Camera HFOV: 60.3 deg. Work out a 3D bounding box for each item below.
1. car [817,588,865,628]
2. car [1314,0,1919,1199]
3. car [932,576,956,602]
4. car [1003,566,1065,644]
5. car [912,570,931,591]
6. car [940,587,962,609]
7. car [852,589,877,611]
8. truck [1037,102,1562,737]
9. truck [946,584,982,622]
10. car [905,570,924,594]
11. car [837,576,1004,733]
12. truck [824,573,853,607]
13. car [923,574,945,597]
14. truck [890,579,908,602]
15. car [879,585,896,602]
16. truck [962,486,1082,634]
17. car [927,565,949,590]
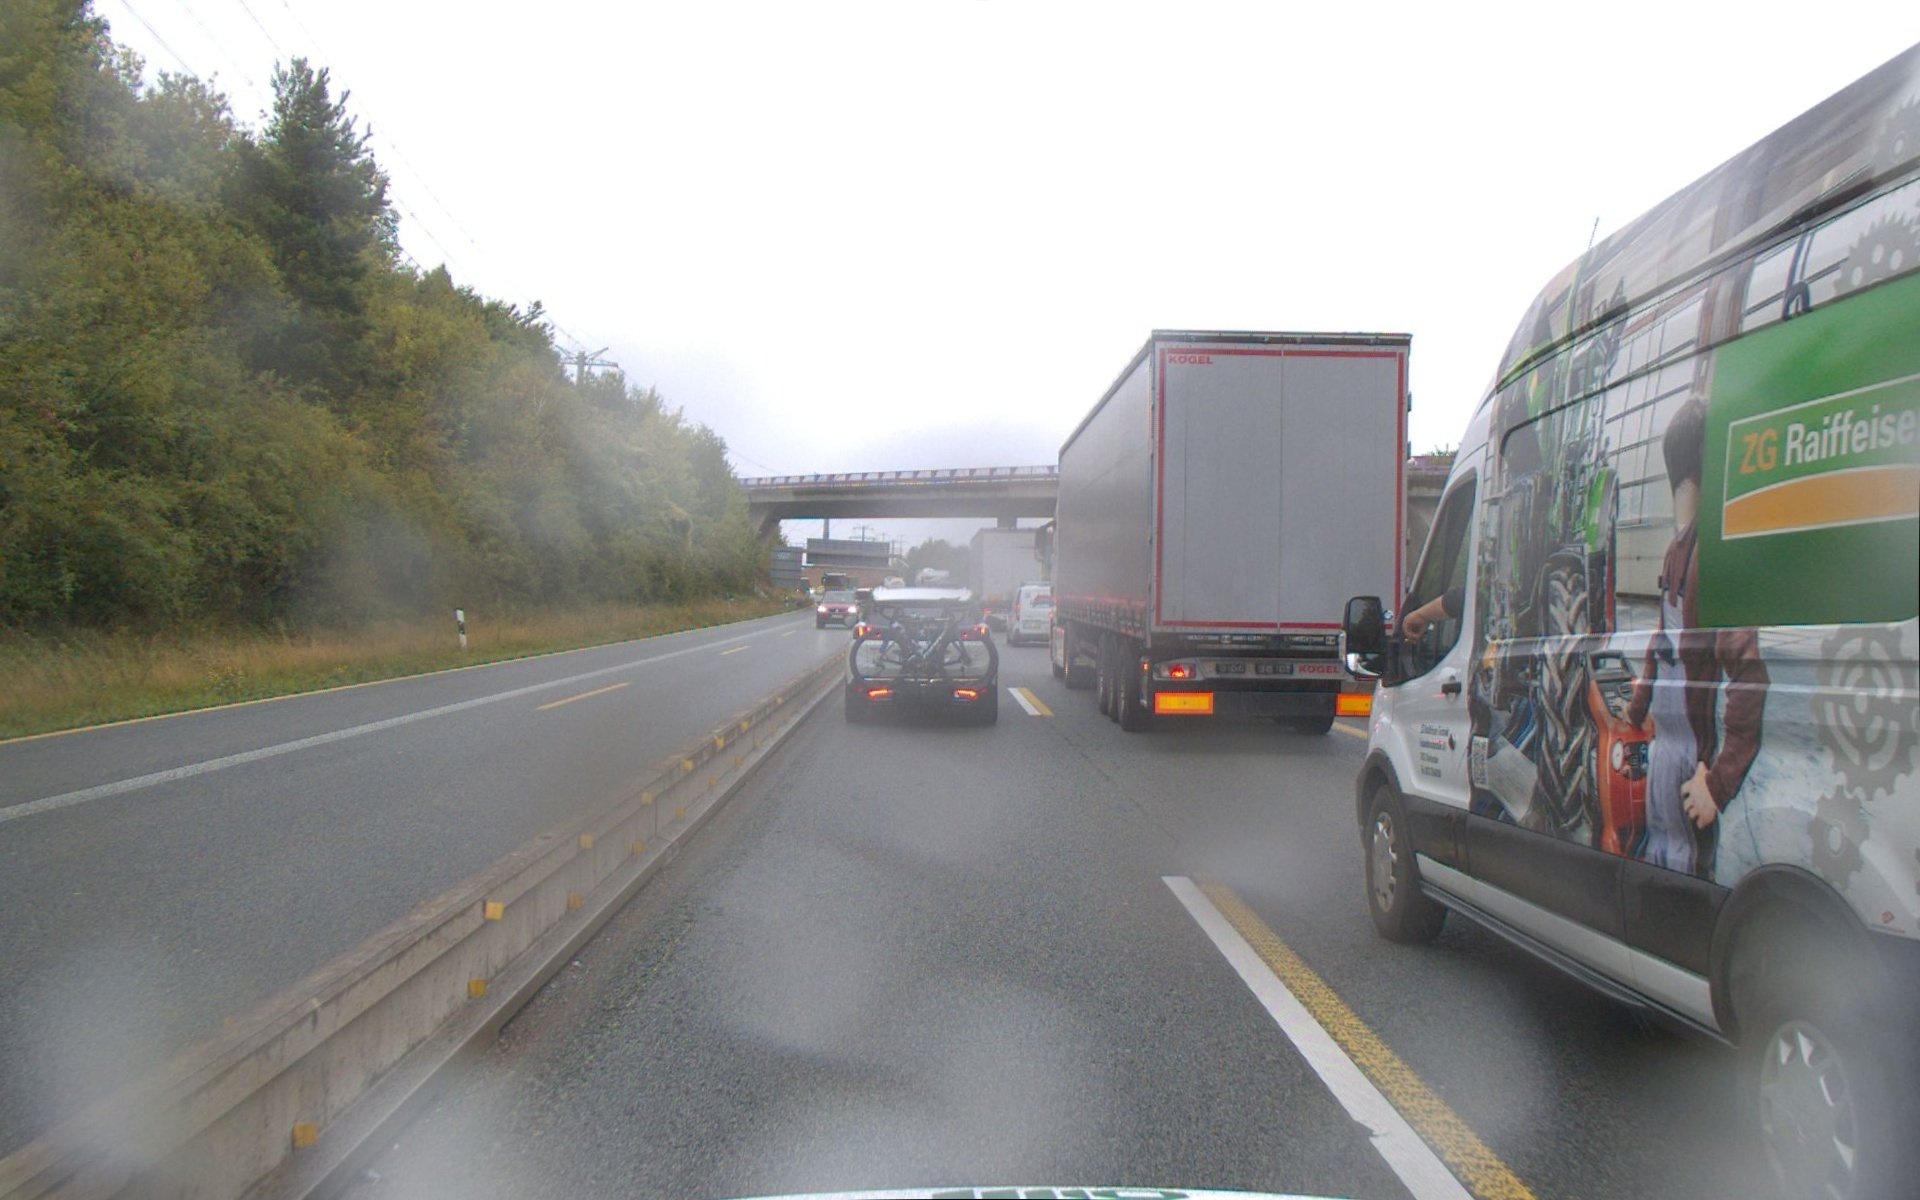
[{"bbox_3d":[-4.928,0.319,68.959,1.758,1.583,3.999,1,0,-1],"label":"car"},{"bbox_3d":[2.866,0.072,5.427,2.100,2.723,6.117,1,0,0],"label":"car"},{"bbox_3d":[-1.307,-0.881,136.756,1.953,2.049,3.999,1,0,-1],"label":"car"},{"bbox_3d":[2.177,0.153,49.389,1.635,2.218,4.534,1,0,0],"label":"car"},{"bbox_3d":[-4.061,-2.029,175.630,1.953,2.164,4.526,1,0,-1],"label":"car"},{"bbox_3d":[-0.653,-0.142,123.098,1.605,1.524,3.665,1,0,-1],"label":"car"},{"bbox_3d":[-7.647,0.010,132.968,1.773,1.661,4.117,1,0,0],"label":"car"},{"bbox_3d":[3.591,-1.635,25.340,3.898,5.772,20.375,1,0,0],"label":"truck"},{"bbox_3d":[0.183,0.176,93.362,1.953,2.049,3.999,1,0,-1],"label":"truck"},{"bbox_3d":[-5.080,-2.019,184.721,1.953,2.588,4.526,1,0,-1],"label":"car"},{"bbox_3d":[-0.409,0.590,20.038,1.773,1.666,4.635,1,0,0],"label":"car"},{"bbox_3d":[-12.799,-1.035,174.657,2.484,3.411,12.045,1,0,-2],"label":"truck"},{"bbox_3d":[-2.341,-1.308,150.164,1.953,2.049,3.999,1,0,-1],"label":"car"},{"bbox_3d":[-9.124,-1.367,247.676,2.484,3.411,12.045,1,0,-2],"label":"truck"},{"bbox_3d":[-7.974,-0.675,181.231,1.774,1.856,4.633,1,0,-3],"label":"car"},{"bbox_3d":[2.483,-1.562,75.311,4.646,5.772,20.375,1,0,0],"label":"truck"},{"bbox_3d":[-2.168,-2.203,163.106,2.194,2.347,4.571,1,0,-1],"label":"car"}]
